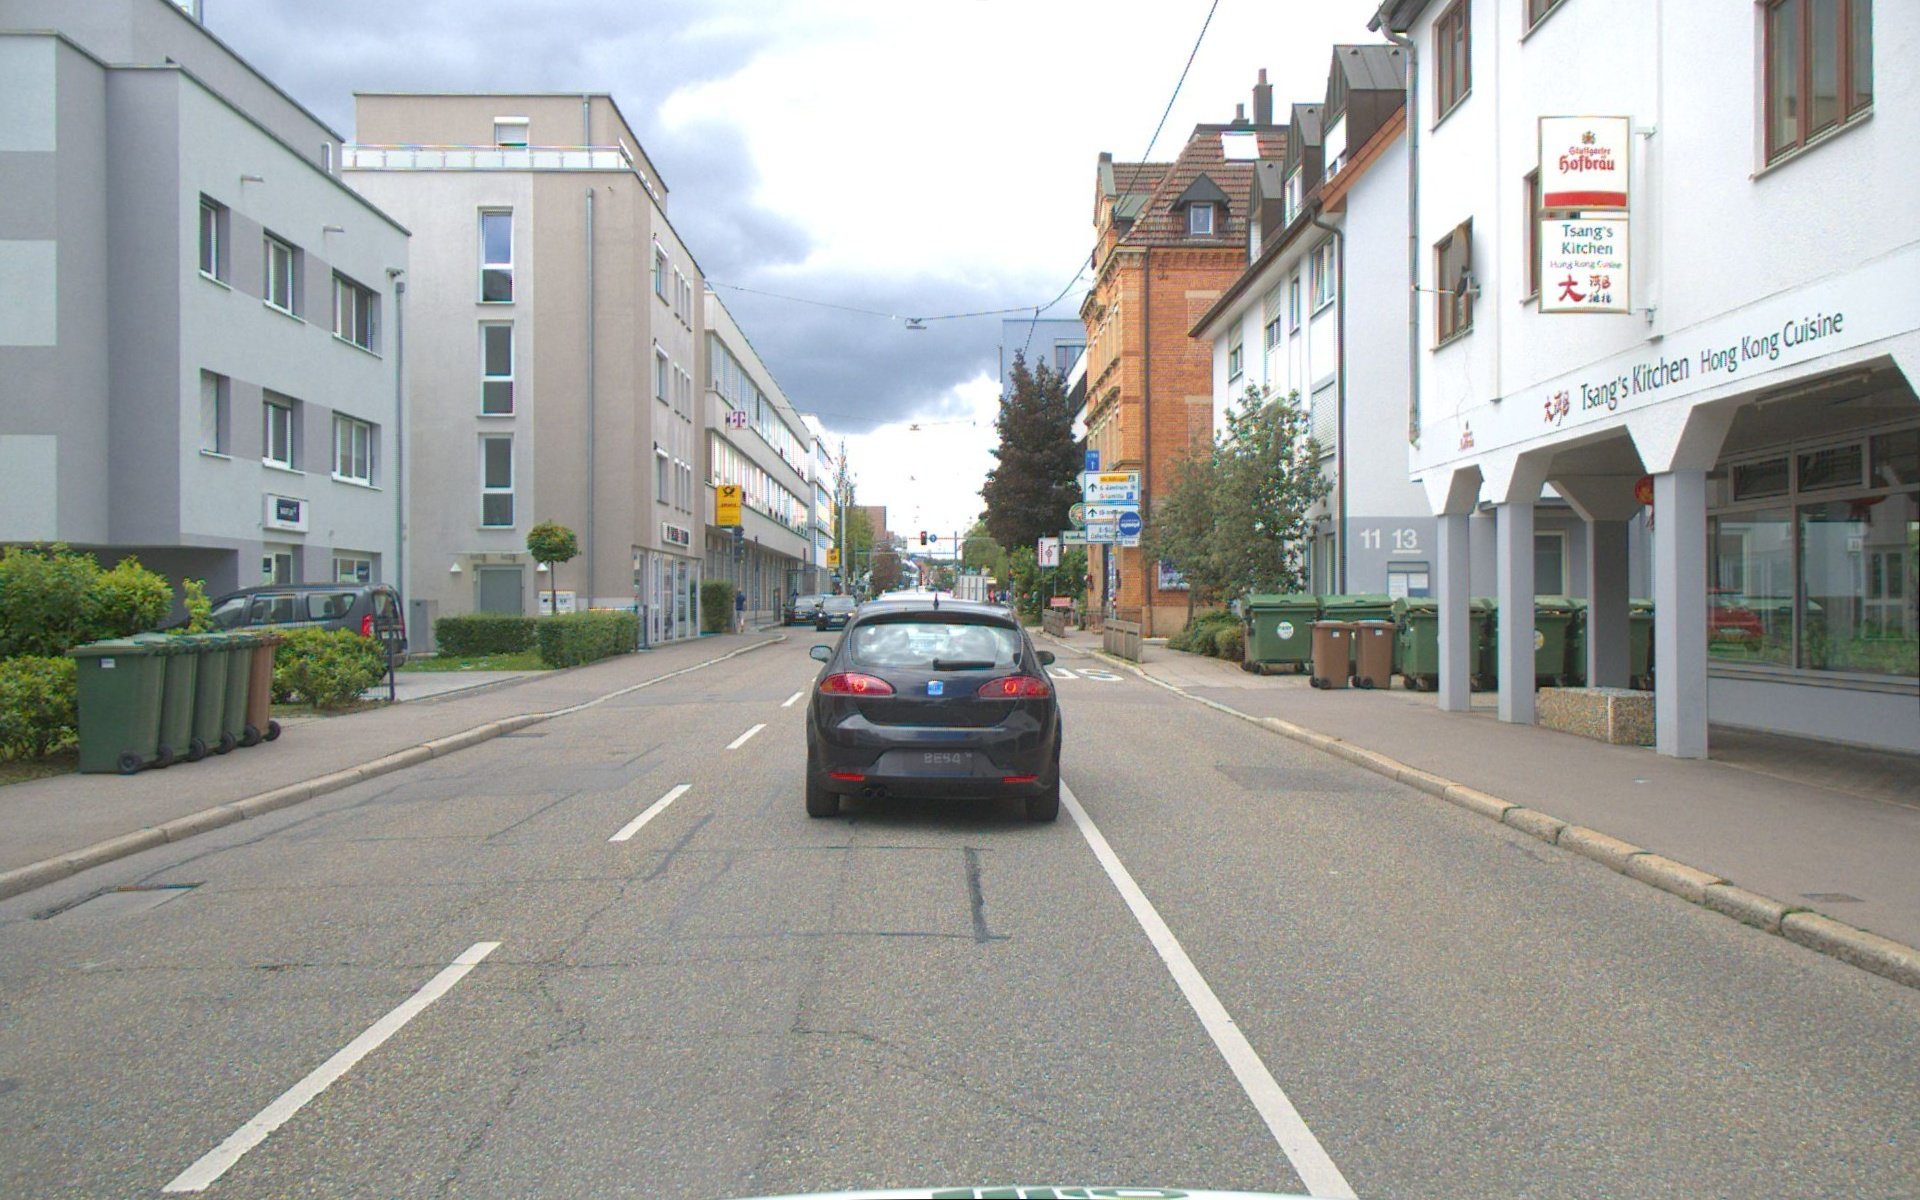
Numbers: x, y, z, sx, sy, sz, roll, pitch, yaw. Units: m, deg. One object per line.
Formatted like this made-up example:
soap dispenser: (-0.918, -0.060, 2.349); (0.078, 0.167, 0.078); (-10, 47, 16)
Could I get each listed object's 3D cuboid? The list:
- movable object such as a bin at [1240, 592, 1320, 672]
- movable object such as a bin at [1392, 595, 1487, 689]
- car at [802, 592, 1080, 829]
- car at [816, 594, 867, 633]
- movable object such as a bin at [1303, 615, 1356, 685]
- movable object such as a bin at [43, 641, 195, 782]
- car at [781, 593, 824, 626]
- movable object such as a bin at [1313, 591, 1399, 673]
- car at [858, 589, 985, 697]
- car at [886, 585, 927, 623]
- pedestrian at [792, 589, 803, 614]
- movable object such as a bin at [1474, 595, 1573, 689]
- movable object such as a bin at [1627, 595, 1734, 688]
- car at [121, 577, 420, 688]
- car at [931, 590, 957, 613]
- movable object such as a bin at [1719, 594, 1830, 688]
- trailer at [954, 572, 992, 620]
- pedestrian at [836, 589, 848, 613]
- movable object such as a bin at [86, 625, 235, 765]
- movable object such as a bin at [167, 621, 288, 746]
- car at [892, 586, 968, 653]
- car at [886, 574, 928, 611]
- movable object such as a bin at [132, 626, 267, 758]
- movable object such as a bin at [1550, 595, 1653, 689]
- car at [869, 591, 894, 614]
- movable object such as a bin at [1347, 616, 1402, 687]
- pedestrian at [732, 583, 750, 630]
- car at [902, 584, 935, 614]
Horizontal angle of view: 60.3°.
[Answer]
movable object such as a bin: (5.887, 0.574, 30.477); (1.241, 1.442, 1.162); (0, 0, -1)
movable object such as a bin: (7.578, 0.648, 26.214); (1.184, 1.442, 1.260); (0, 0, 3)
car: (-0.148, 0.678, 12.210); (1.730, 1.458, 3.827); (0, 0, -1)
car: (-4.911, 0.531, 69.031); (1.840, 1.476, 4.213); (-3, 0, -1)
movable object such as a bin: (5.927, 0.794, 26.556); (0.669, 1.086, 0.972); (0, 0, 3)
movable object such as a bin: (-6.948, 0.905, 13.703); (0.877, 1.108, 0.792); (0, 0, -6)
car: (-7.821, 0.442, 82.420); (1.874, 1.543, 4.173); (-1, 0, -2)
movable object such as a bin: (7.218, 0.565, 30.193); (1.241, 1.460, 1.307); (0, 0, -1)
car: (-0.593, 0.595, 25.120); (1.767, 1.519, 3.736); (0, 0, -2)
car: (-2.351, 0.174, 72.949); (1.767, 1.629, 3.736); (1, 0, -2)
pedestrian: (-10.873, 0.099, 110.464); (0.642, 1.651, 0.681); (0, 0, 0)
movable object such as a bin: (8.914, 0.645, 26.224); (1.184, 1.442, 1.260); (0, 0, 3)
movable object such as a bin: (11.415, 0.644, 26.259); (1.184, 1.442, 1.260); (0, 0, 3)
car: (-11.030, 0.518, 26.639); (4.076, 1.697, 1.725); (-1, 0, 2)
car: (-1.158, 0.116, 119.763); (1.767, 1.629, 3.736); (1, 0, -2)
movable object such as a bin: (12.871, 0.637, 26.178); (1.184, 1.442, 1.260); (0, 0, 3)
trailer: (0.698, -0.214, 94.546); (1.953, 2.653, 5.347); (0, 0, -2)
pedestrian: (-9.413, 0.082, 131.779); (0.899, 1.901, 0.783); (0, 0, -2)
movable object such as a bin: (-7.015, 0.819, 14.552); (0.937, 1.171, 0.839); (0, 0, -6)
movable object such as a bin: (-7.112, 0.801, 16.093); (0.922, 1.171, 0.612); (0, 0, -6)
car: (-0.759, 0.448, 40.848); (1.767, 1.580, 3.736); (0, 0, -2)
car: (-2.333, -0.315, 72.861); (1.767, 1.580, 3.736); (0, 0, -2)
movable object such as a bin: (-7.059, 0.837, 15.389); (0.930, 1.171, 0.748); (0, 0, -6)
movable object such as a bin: (10.146, 0.645, 26.219); (1.184, 1.442, 1.260); (0, 0, 3)
car: (-6.559, 0.181, 139.282); (1.953, 1.769, 4.552); (-3, 0, -2)
movable object such as a bin: (6.642, 0.811, 26.544); (0.683, 1.098, 0.972); (0, 0, 3)
pedestrian: (-8.467, 0.260, 63.966); (0.630, 1.800, 0.809); (0, 0, -4)
car: (-2.344, -0.048, 92.988); (1.767, 1.629, 3.736); (1, 0, -2)
